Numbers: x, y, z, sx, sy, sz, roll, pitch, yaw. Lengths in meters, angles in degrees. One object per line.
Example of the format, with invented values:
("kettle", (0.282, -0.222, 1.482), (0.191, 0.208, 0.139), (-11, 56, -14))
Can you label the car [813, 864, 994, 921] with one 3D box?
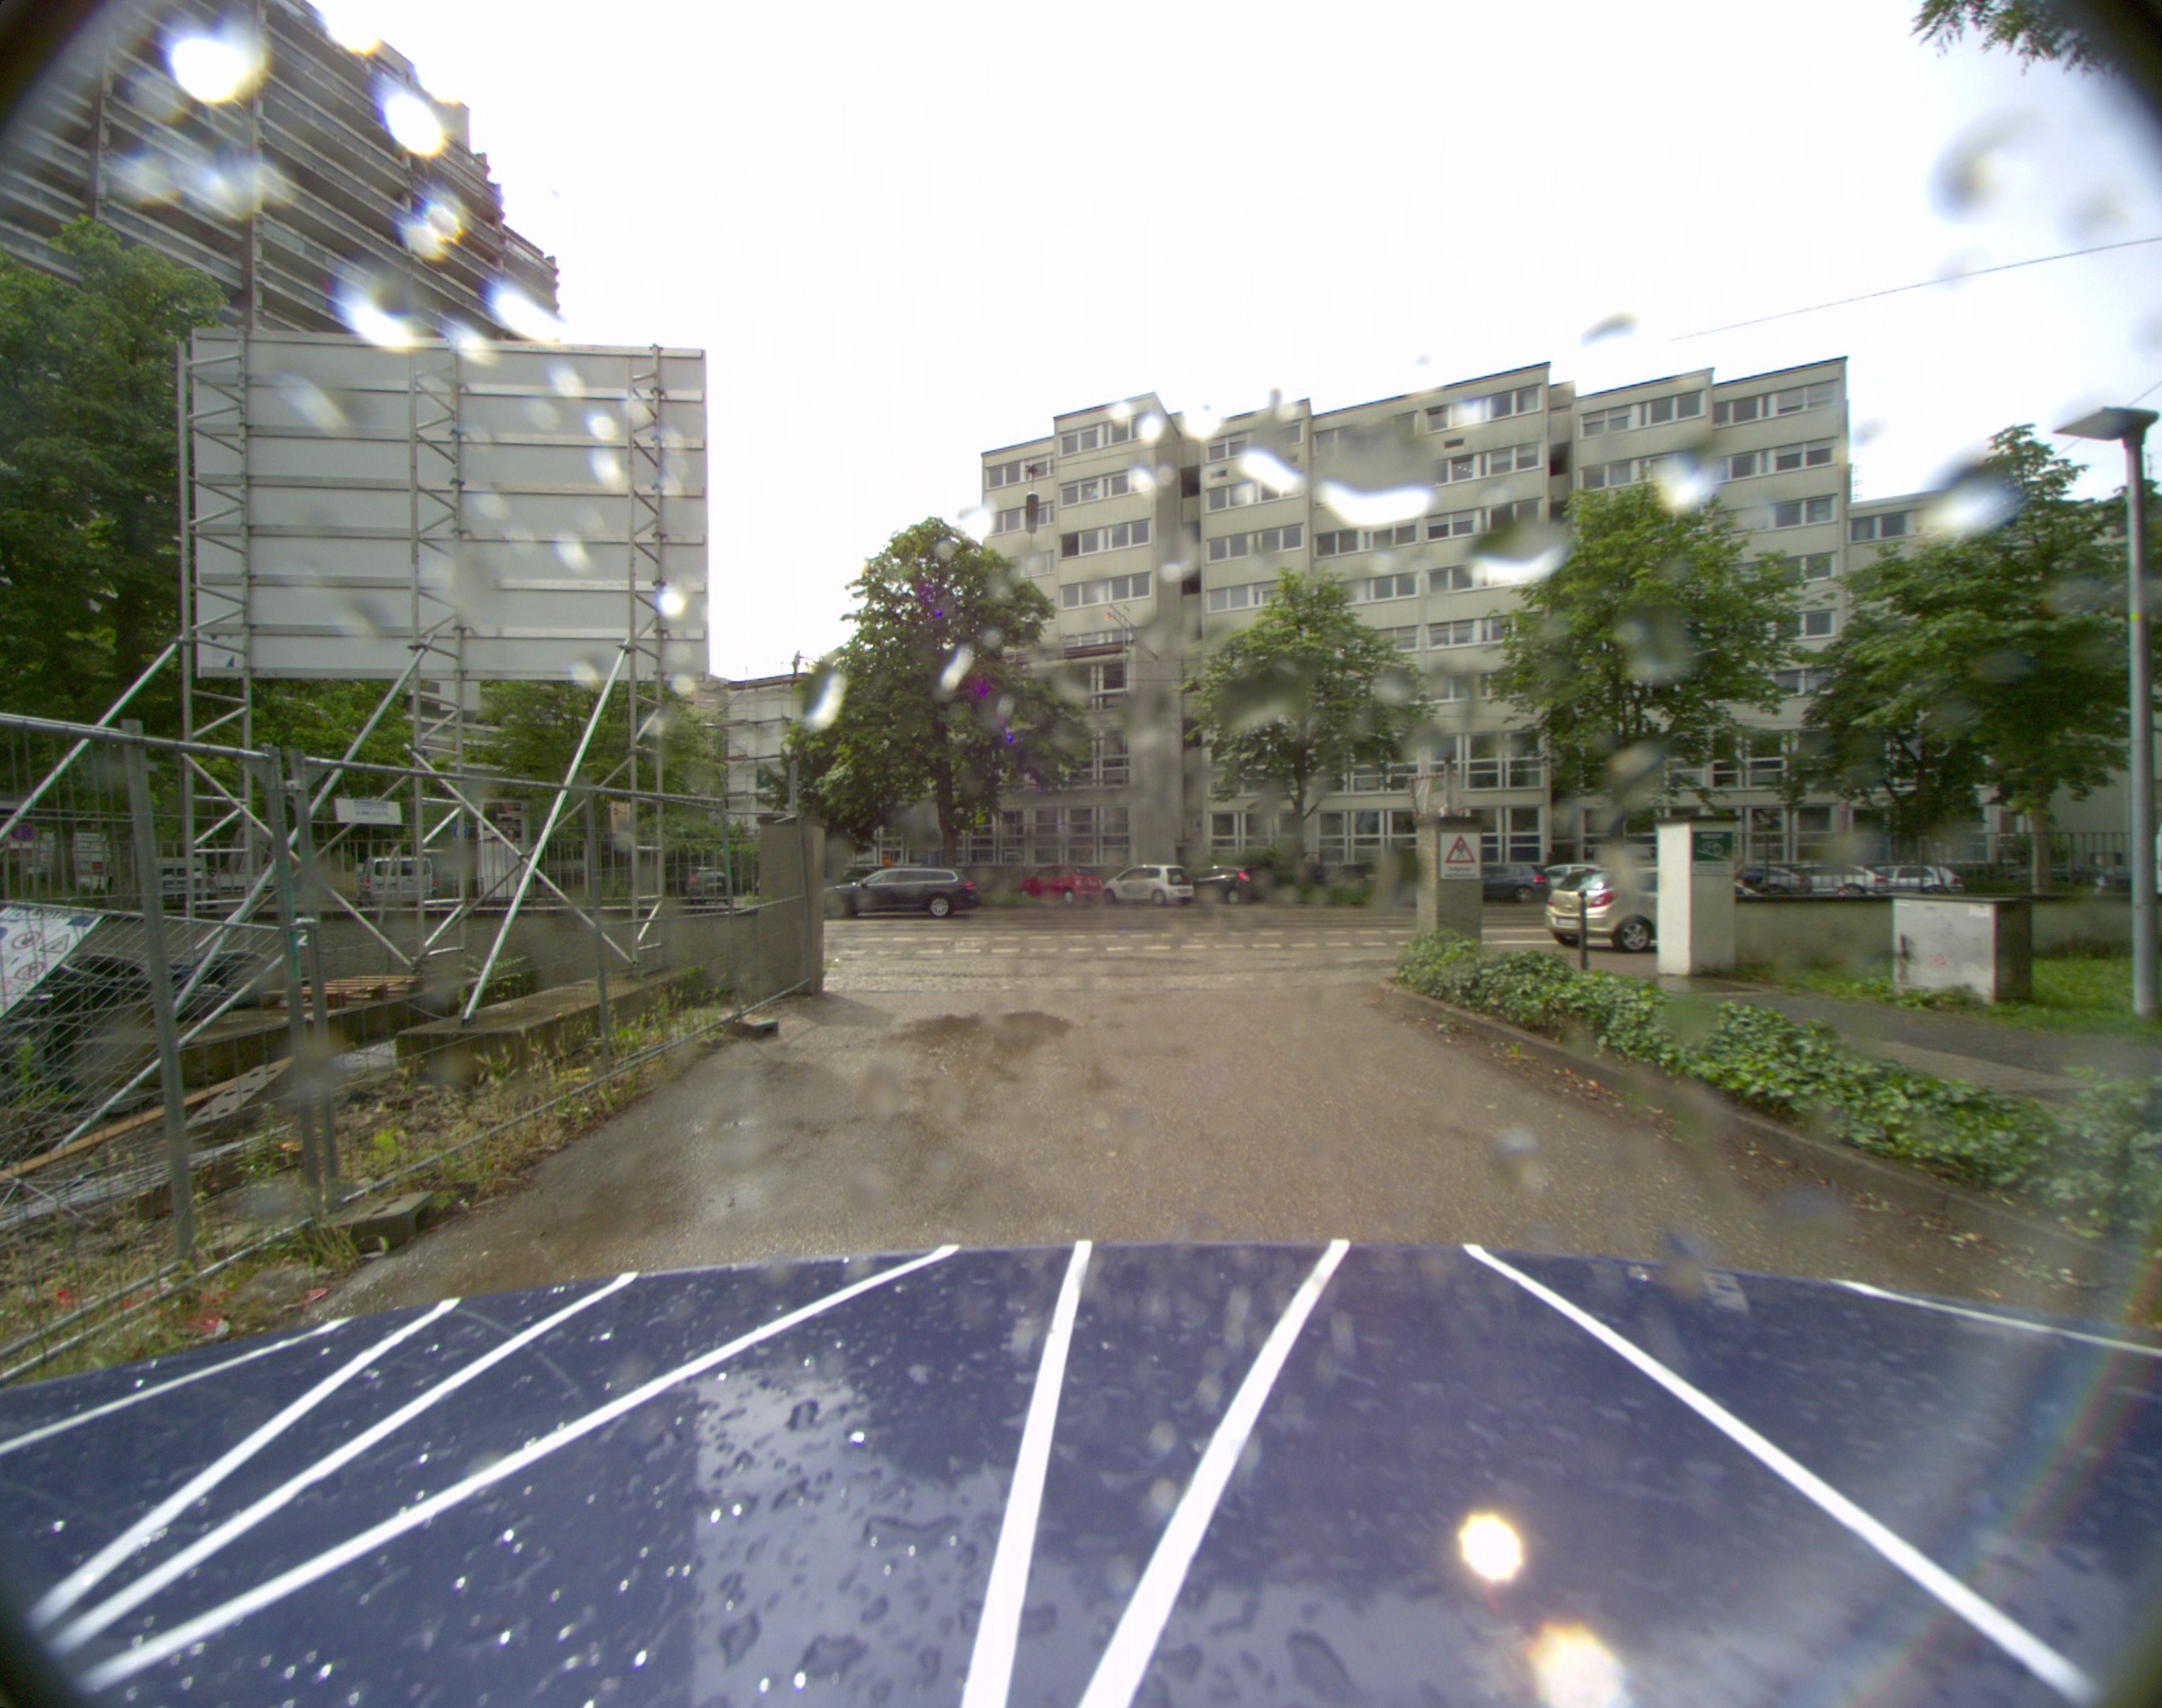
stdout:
("car", (-4.947, 1.078, 21.725), (4.762, 1.471, 2.000), (-1, -2, -4))

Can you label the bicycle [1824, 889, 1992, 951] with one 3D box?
("bicycle", (14.324, 1.126, 13.256), (0.685, 0.980, 1.928), (-1, -3, -4))

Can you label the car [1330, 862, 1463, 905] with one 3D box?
("car", (12.183, 1.158, 29.527), (4.359, 1.545, 1.883), (-3, -3, 41))

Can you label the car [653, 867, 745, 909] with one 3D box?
("car", (-14.110, 1.200, 28.023), (3.639, 1.389, 1.773), (-1, 0, 41))

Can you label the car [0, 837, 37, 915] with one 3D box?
("car", (-39.113, 0.749, 25.732), (5.474, 2.618, 2.305), (0, -1, 11))

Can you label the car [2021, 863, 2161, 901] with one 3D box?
("car", (41.983, 1.147, 31.037), (1.910, 1.443, 4.429), (0, -2, -40))

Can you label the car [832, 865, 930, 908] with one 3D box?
("car", (-7.330, 1.134, 27.719), (3.639, 1.461, 1.745), (-1, 0, 43))

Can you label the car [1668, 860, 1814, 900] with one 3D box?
("car", (25.885, 1.044, 29.912), (4.195, 1.443, 1.818), (-3, -2, 43))

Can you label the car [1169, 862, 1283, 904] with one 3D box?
("car", (5.482, 1.097, 29.094), (1.820, 1.472, 3.968), (0, -1, -41))

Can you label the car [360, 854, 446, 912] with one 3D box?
("car", (-24.255, 0.981, 27.120), (4.632, 1.885, 1.942), (-1, -1, 44))

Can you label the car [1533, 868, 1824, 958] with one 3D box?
("car", (10.354, 0.995, 13.342), (3.831, 1.450, 1.690), (0, -2, -3))

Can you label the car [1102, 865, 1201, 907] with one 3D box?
("car", (2.597, 1.135, 28.399), (1.714, 1.443, 3.398), (-1, 0, -44))

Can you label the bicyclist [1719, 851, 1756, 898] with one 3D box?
("bicyclist", (22.839, 0.705, 26.437), (0.673, 1.607, 0.646), (-2, -1, 3))

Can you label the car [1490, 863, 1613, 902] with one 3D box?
("car", (18.686, 1.141, 30.258), (3.871, 1.444, 1.782), (-3, -3, 42))

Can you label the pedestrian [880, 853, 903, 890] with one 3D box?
("pedestrian", (-8.960, 0.834, 35.896), (0.709, 1.732, 0.837), (0, -2, -43))

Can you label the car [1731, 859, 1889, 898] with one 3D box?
("car", (28.812, 0.994, 30.213), (4.383, 1.443, 1.889), (-3, -2, 43))

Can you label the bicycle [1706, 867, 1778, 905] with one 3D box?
("bicycle", (22.970, 1.126, 26.418), (1.867, 1.258, 0.646), (-2, -1, 3))

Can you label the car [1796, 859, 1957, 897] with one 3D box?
("car", (31.888, 0.994, 30.681), (4.360, 1.443, 1.910), (-3, -2, 43))

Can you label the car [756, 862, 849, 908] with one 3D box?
("car", (-10.157, 1.084, 27.601), (3.639, 1.542, 1.712), (-1, 0, 44))

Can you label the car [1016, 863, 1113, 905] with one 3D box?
("car", (-0.646, 1.100, 28.685), (3.398, 1.460, 1.746), (-1, -2, 43))

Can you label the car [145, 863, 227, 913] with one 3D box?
("car", (-31.902, 1.150, 27.178), (4.034, 1.556, 1.789), (1, 1, 42))

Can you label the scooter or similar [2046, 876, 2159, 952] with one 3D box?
("scooter or similar", (18.244, 1.050, 13.589), (0.427, 1.269, 1.145), (2, -1, -28))

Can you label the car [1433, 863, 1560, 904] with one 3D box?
("car", (15.827, 1.140, 29.041), (3.871, 1.444, 1.827), (-3, -3, 42))

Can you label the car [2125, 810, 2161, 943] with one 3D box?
("car", (23.087, 0.391, 13.888), (5.271, 2.494, 2.140), (0, -2, -3))
